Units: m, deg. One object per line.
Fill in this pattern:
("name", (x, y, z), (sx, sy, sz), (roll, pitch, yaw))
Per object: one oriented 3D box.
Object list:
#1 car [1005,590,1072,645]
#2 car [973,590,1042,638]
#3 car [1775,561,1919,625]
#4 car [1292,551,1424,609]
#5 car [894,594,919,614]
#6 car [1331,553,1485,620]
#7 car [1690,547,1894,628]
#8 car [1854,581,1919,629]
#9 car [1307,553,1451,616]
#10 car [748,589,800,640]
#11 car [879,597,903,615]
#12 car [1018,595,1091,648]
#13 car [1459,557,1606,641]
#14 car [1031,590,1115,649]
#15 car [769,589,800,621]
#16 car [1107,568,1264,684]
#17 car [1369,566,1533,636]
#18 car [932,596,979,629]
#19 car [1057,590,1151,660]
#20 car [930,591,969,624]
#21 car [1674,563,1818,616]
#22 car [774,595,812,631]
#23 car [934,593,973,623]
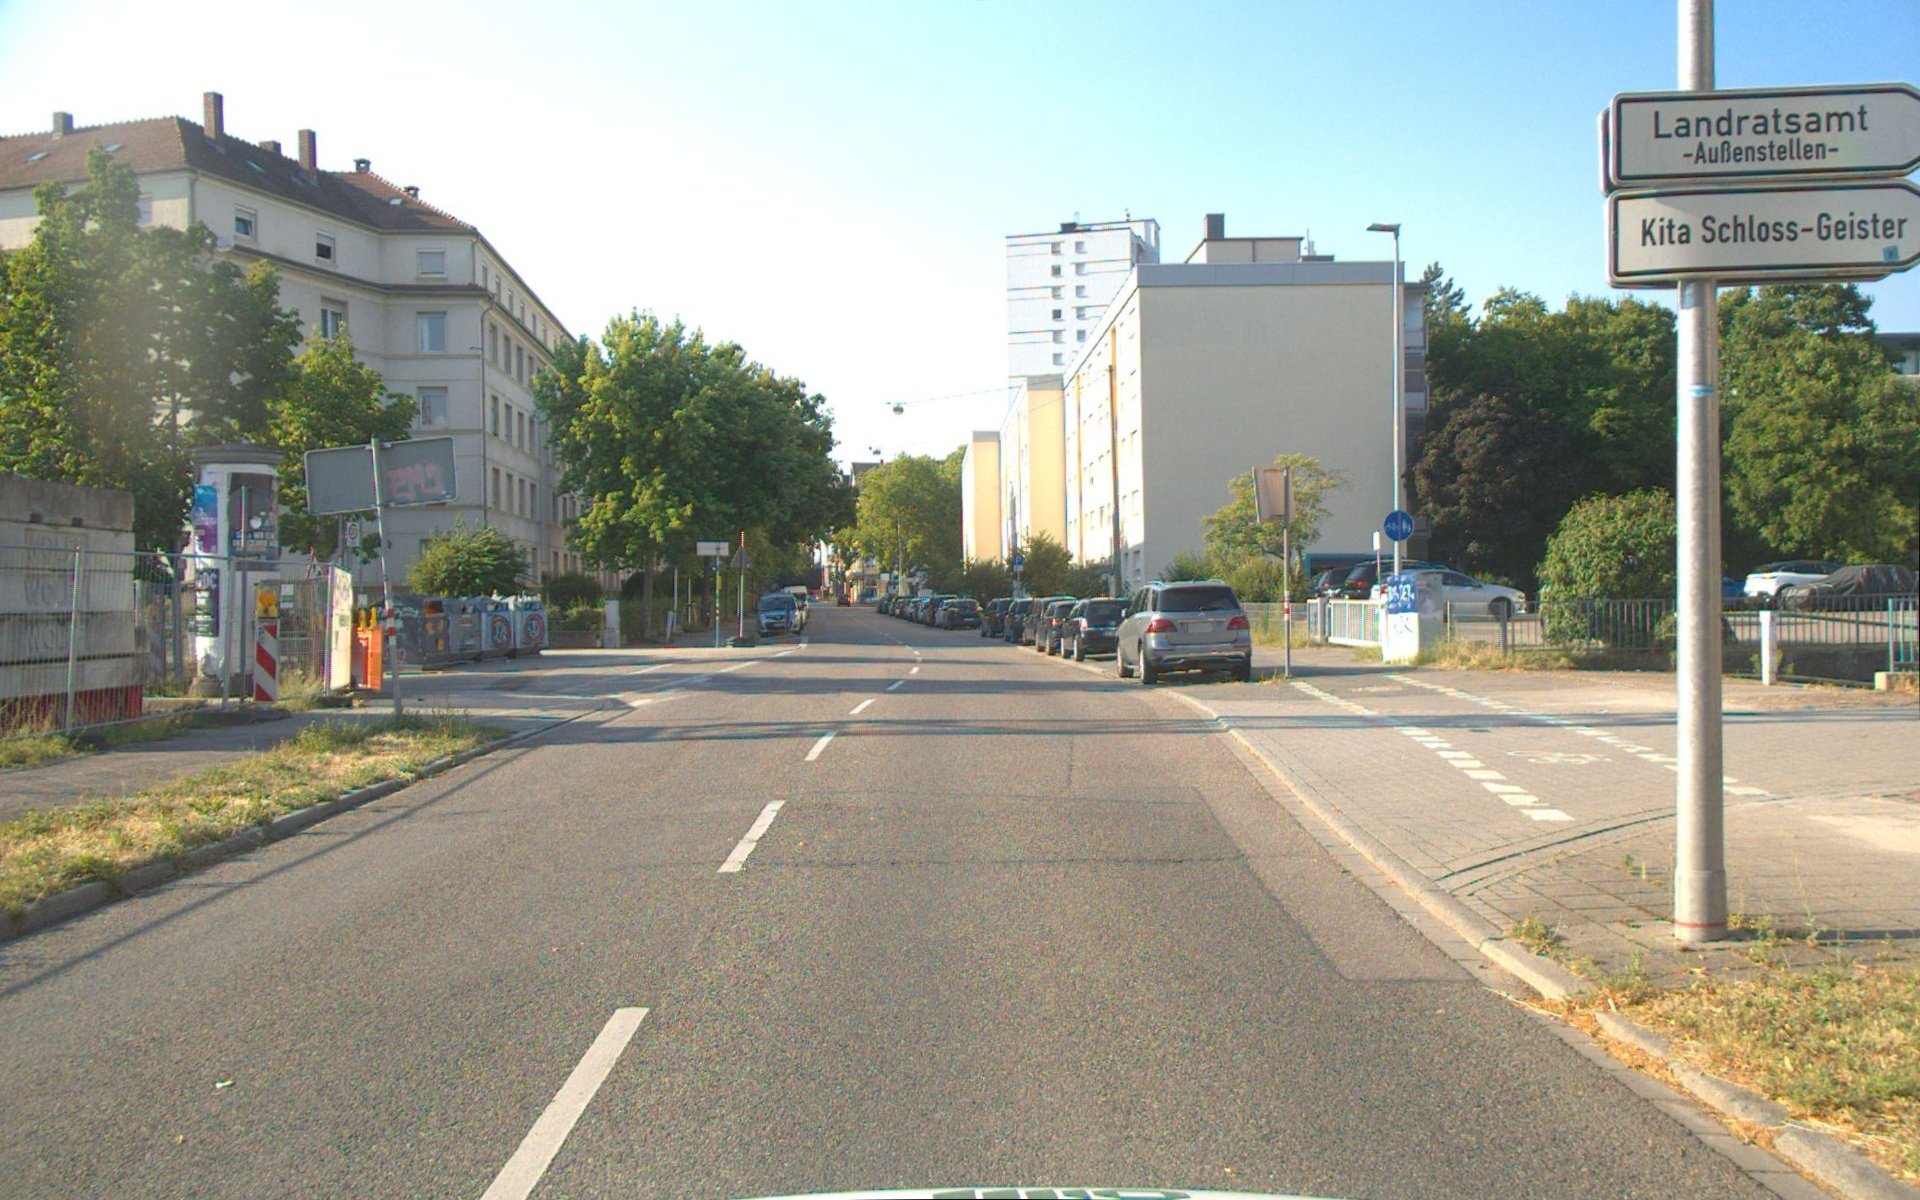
("car", (2.660, 0.618, 57.113), (1.863, 1.810, 4.579), (1, -1, -3))
("car", (1.817, 0.568, 64.458), (1.851, 1.588, 4.938), (-6, 0, -7))
("car", (26.493, -0.171, 48.573), (4.190, 1.755, 1.998), (1, -1, -5))
("car", (13.443, -0.646, 55.946), (3.909, 1.825, 1.998), (1, -1, -5))
("car", (-4.283, 0.315, 131.542), (1.801, 1.528, 4.168), (1, -1, -4))
("car", (13.078, -0.364, 48.399), (3.909, 1.825, 1.998), (1, -1, -5))
("car", (19.929, -0.268, 39.716), (3.909, 1.825, 1.998), (1, -1, -5))
("car", (36.979, 0.230, 63.605), (4.190, 1.755, 1.998), (1, -1, -5))
("car", (12.948, -0.466, 51.252), (3.908, 1.825, 1.998), (1, -1, -4))
("car", (-7.744, 0.614, 69.157), (1.805, 1.929, 4.483), (4, -1, -4))
("car", (-6.474, 0.540, 154.899), (1.862, 1.680, 4.335), (0, 1, -8))
("car", (2.919, 0.653, 51.924), (1.619, 1.461, 3.955), (-1, 2, -6))
("car", (12.340, 0.008, 35.906), (1.620, 1.691, 3.997), (1, -1, -3))
("car", (3.168, 0.575, 47.182), (1.863, 1.556, 4.807), (1, -1, -3))
("car", (-14.138, 0.439, 133.217), (2.312, 2.488, 6.158), (1, -1, -5))
("car", (4.005, 0.482, 30.159), (1.883, 1.810, 4.807), (-4, -1, -3))
("car", (13.589, 0.047, 45.926), (3.909, 1.825, 1.998), (1, -1, -5))
("car", (-0.235, 0.634, 82.107), (1.765, 1.533, 4.614), (-1, -1, -7))
("car", (3.507, 0.618, 41.003), (1.707, 1.567, 4.437), (-2, -1, -3))
("car", (-0.620, 0.467, 93.359), (1.737, 1.707, 4.641), (3, -1, -5))
("car", (27.913, -0.351, 58.818), (4.190, 1.755, 1.998), (1, -1, -5))
("car", (-8.548, 0.690, 84.471), (1.838, 1.790, 4.682), (1, -1, -7))
("car", (-0.383, 0.439, 88.122), (1.737, 1.534, 3.995), (1, -1, -5))
